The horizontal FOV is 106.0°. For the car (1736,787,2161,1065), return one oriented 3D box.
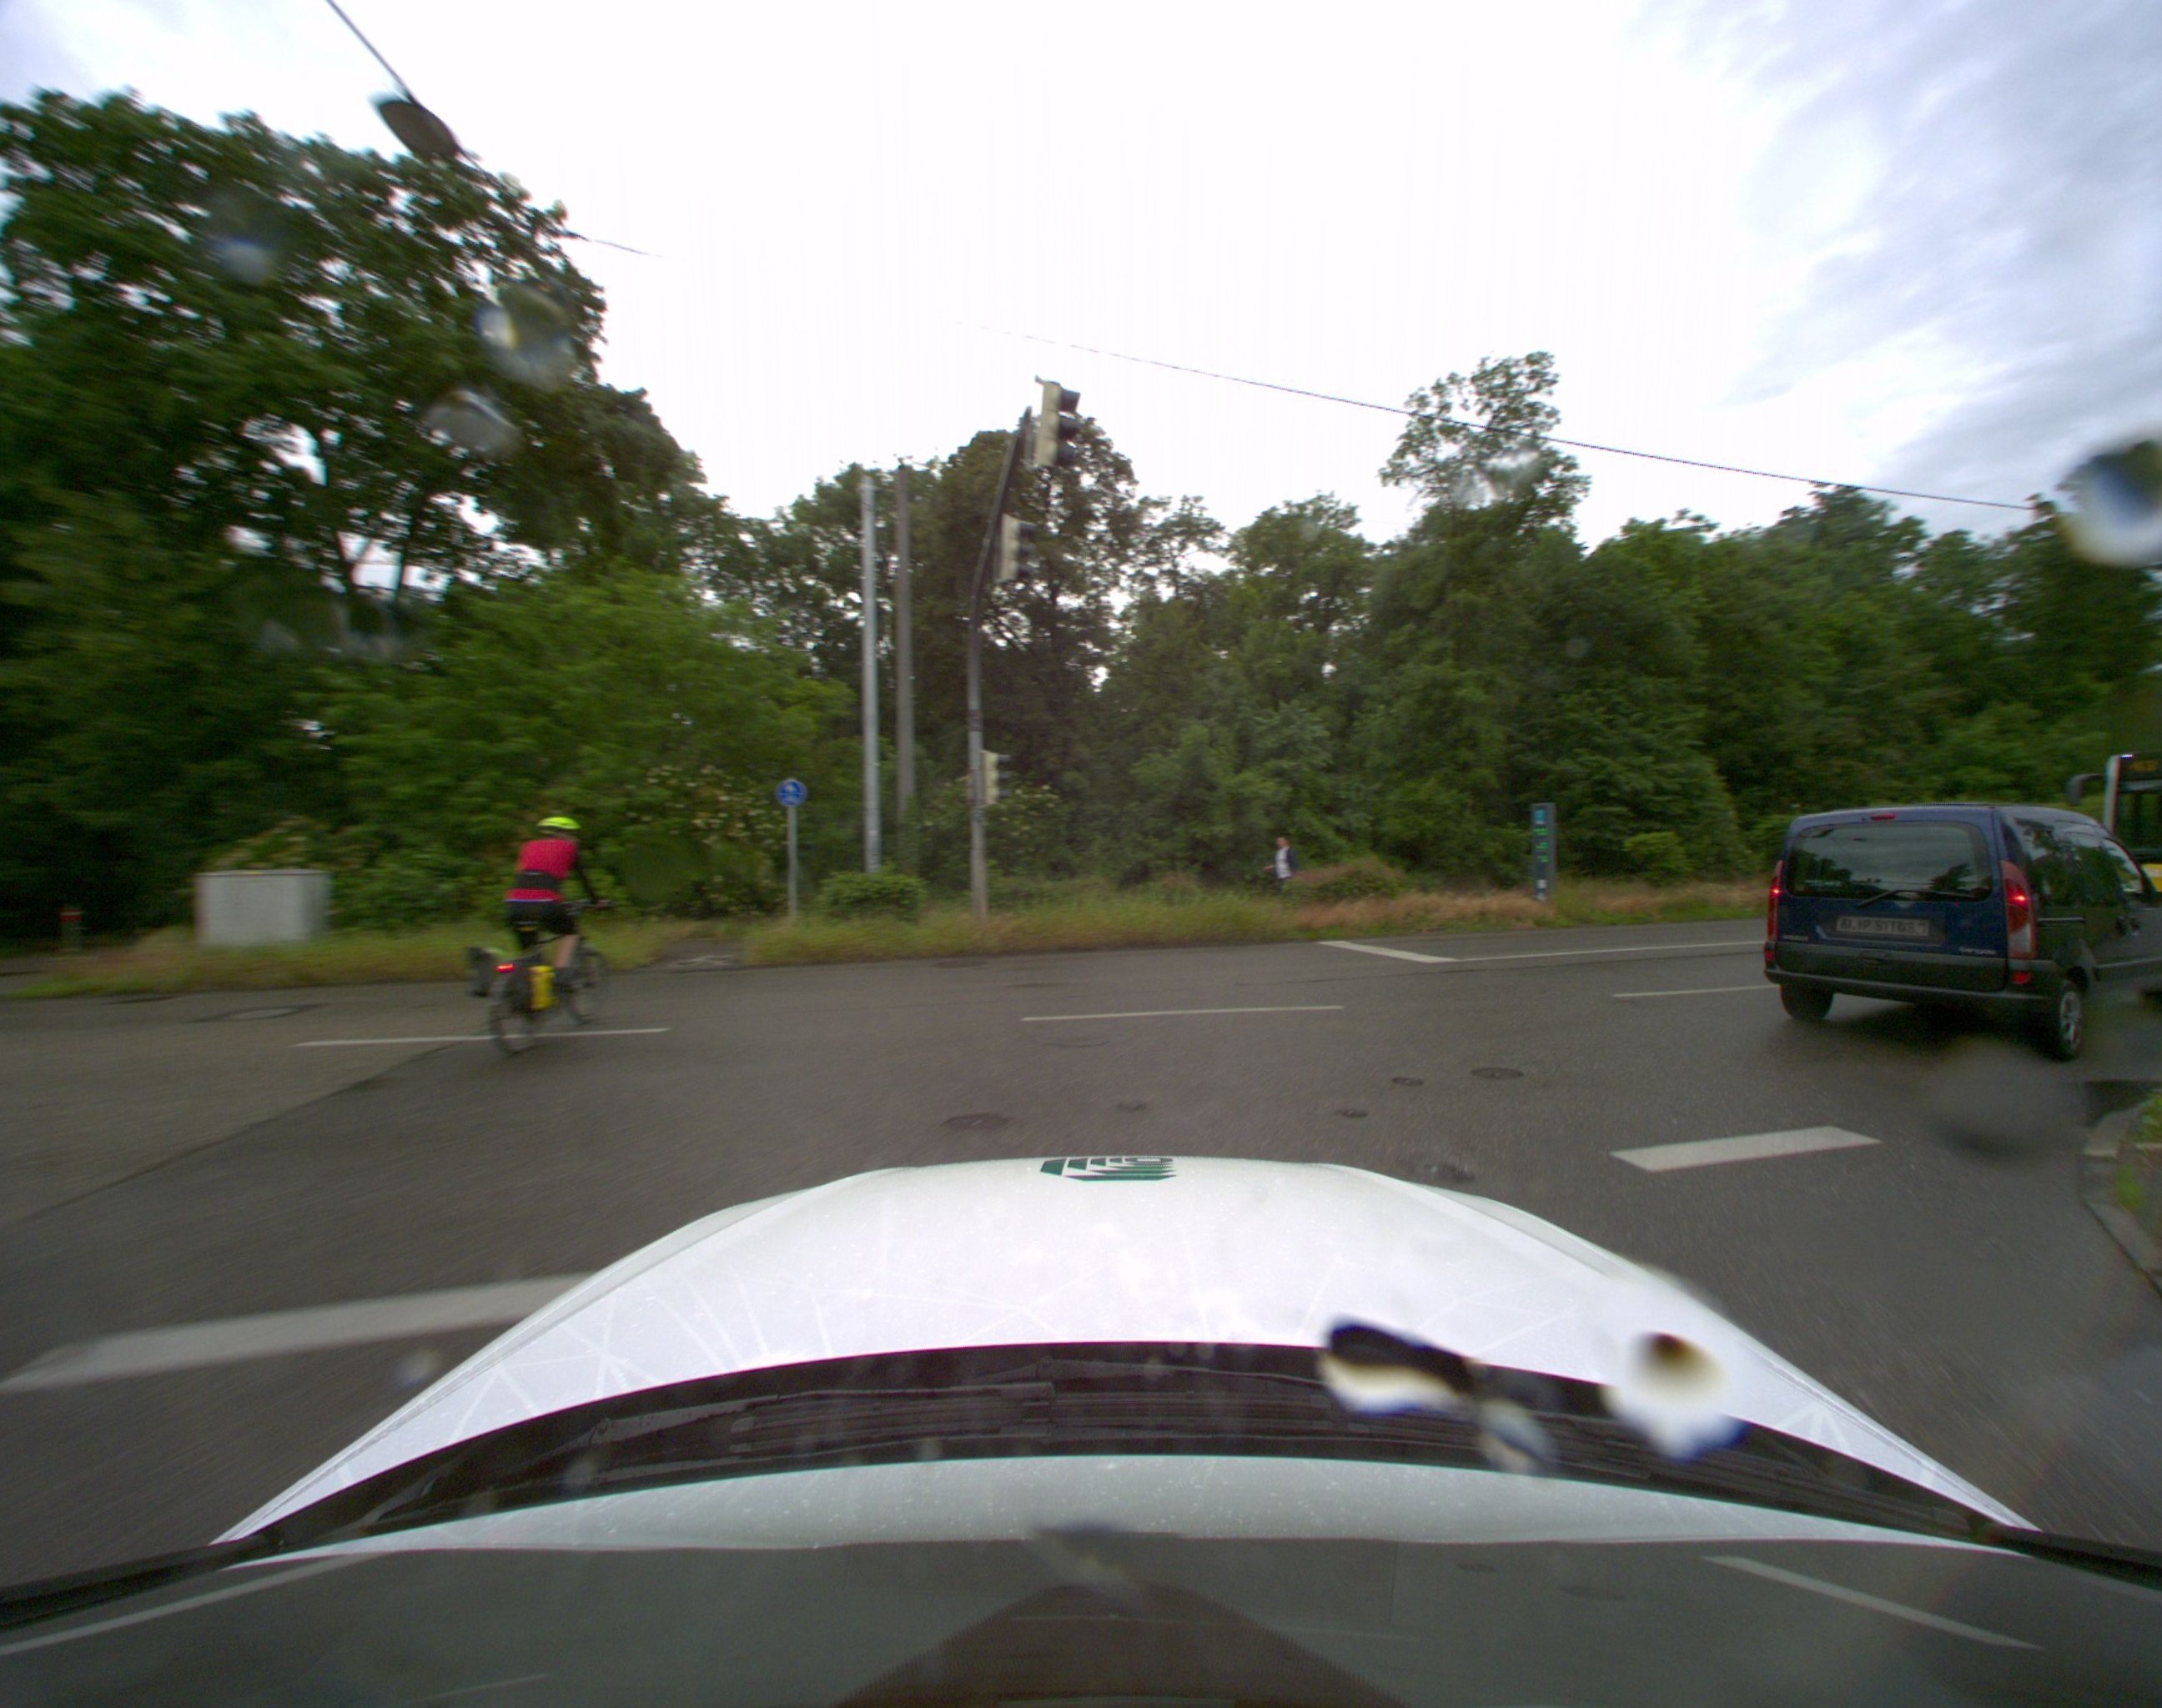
[{"bbox_3d":[7.742,0.443,6.990,4.009,1.797,1.799,-1,0,-27],"label":"car"}]

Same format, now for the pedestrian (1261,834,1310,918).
[{"bbox_3d":[4.524,0.476,18.056,0.762,1.800,0.775,-1,0,-12],"label":"pedestrian"}]

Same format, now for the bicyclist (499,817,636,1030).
[{"bbox_3d":[-4.288,0.534,6.876,0.578,1.652,1.046,0,0,-8],"label":"bicyclist"}]

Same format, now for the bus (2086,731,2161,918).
[{"bbox_3d":[22.228,-0.565,14.101,9.216,3.044,2.638,-1,1,-16],"label":"bus"}]

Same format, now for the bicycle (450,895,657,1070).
[{"bbox_3d":[-4.279,0.957,6.829,0.578,1.096,2.149,0,0,-7],"label":"bicycle"}]
